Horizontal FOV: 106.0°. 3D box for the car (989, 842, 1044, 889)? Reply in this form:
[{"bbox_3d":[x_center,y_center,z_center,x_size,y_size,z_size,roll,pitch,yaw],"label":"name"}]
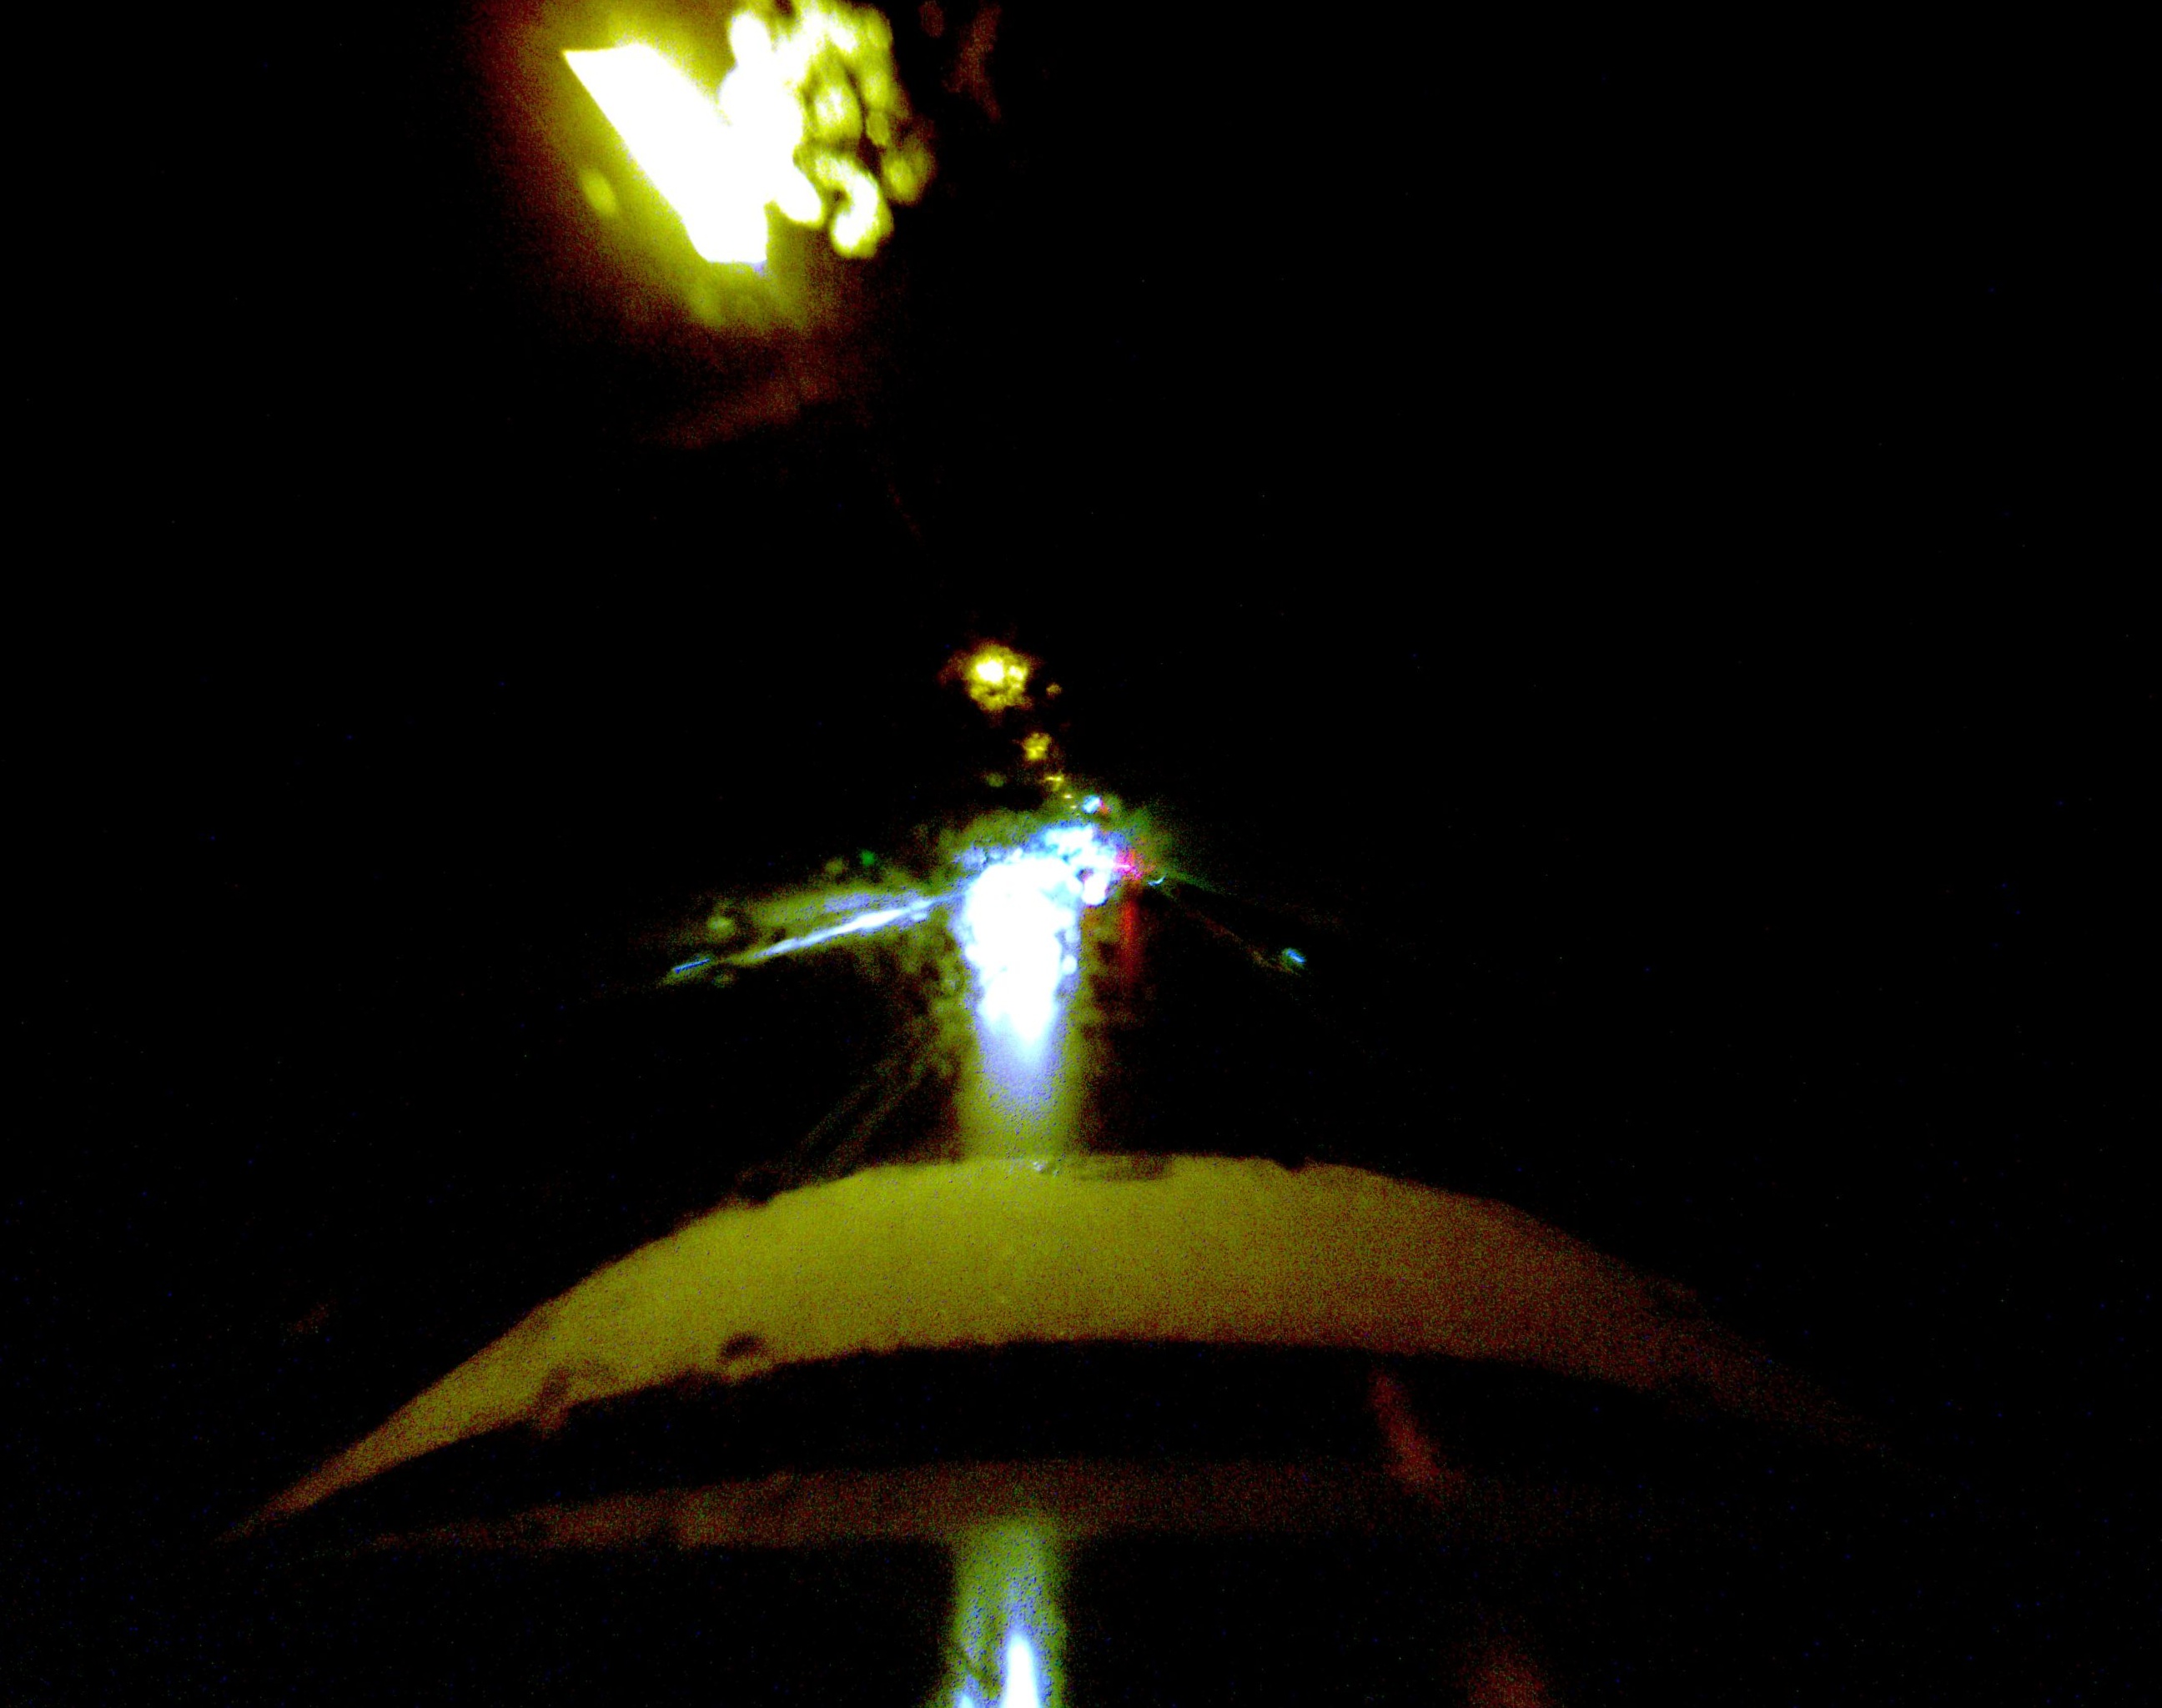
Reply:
[{"bbox_3d":[-2.383,0.404,31.103,1.592,1.613,3.997,-2,0,2],"label":"car"}]

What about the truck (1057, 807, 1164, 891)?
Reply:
[{"bbox_3d":[1.135,-0.204,32.176,3.522,2.693,8.959,-3,0,1],"label":"truck"}]

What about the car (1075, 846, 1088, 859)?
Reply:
[{"bbox_3d":[0.116,-0.183,112.676,1.563,1.632,3.731,-3,0,1],"label":"car"}]
